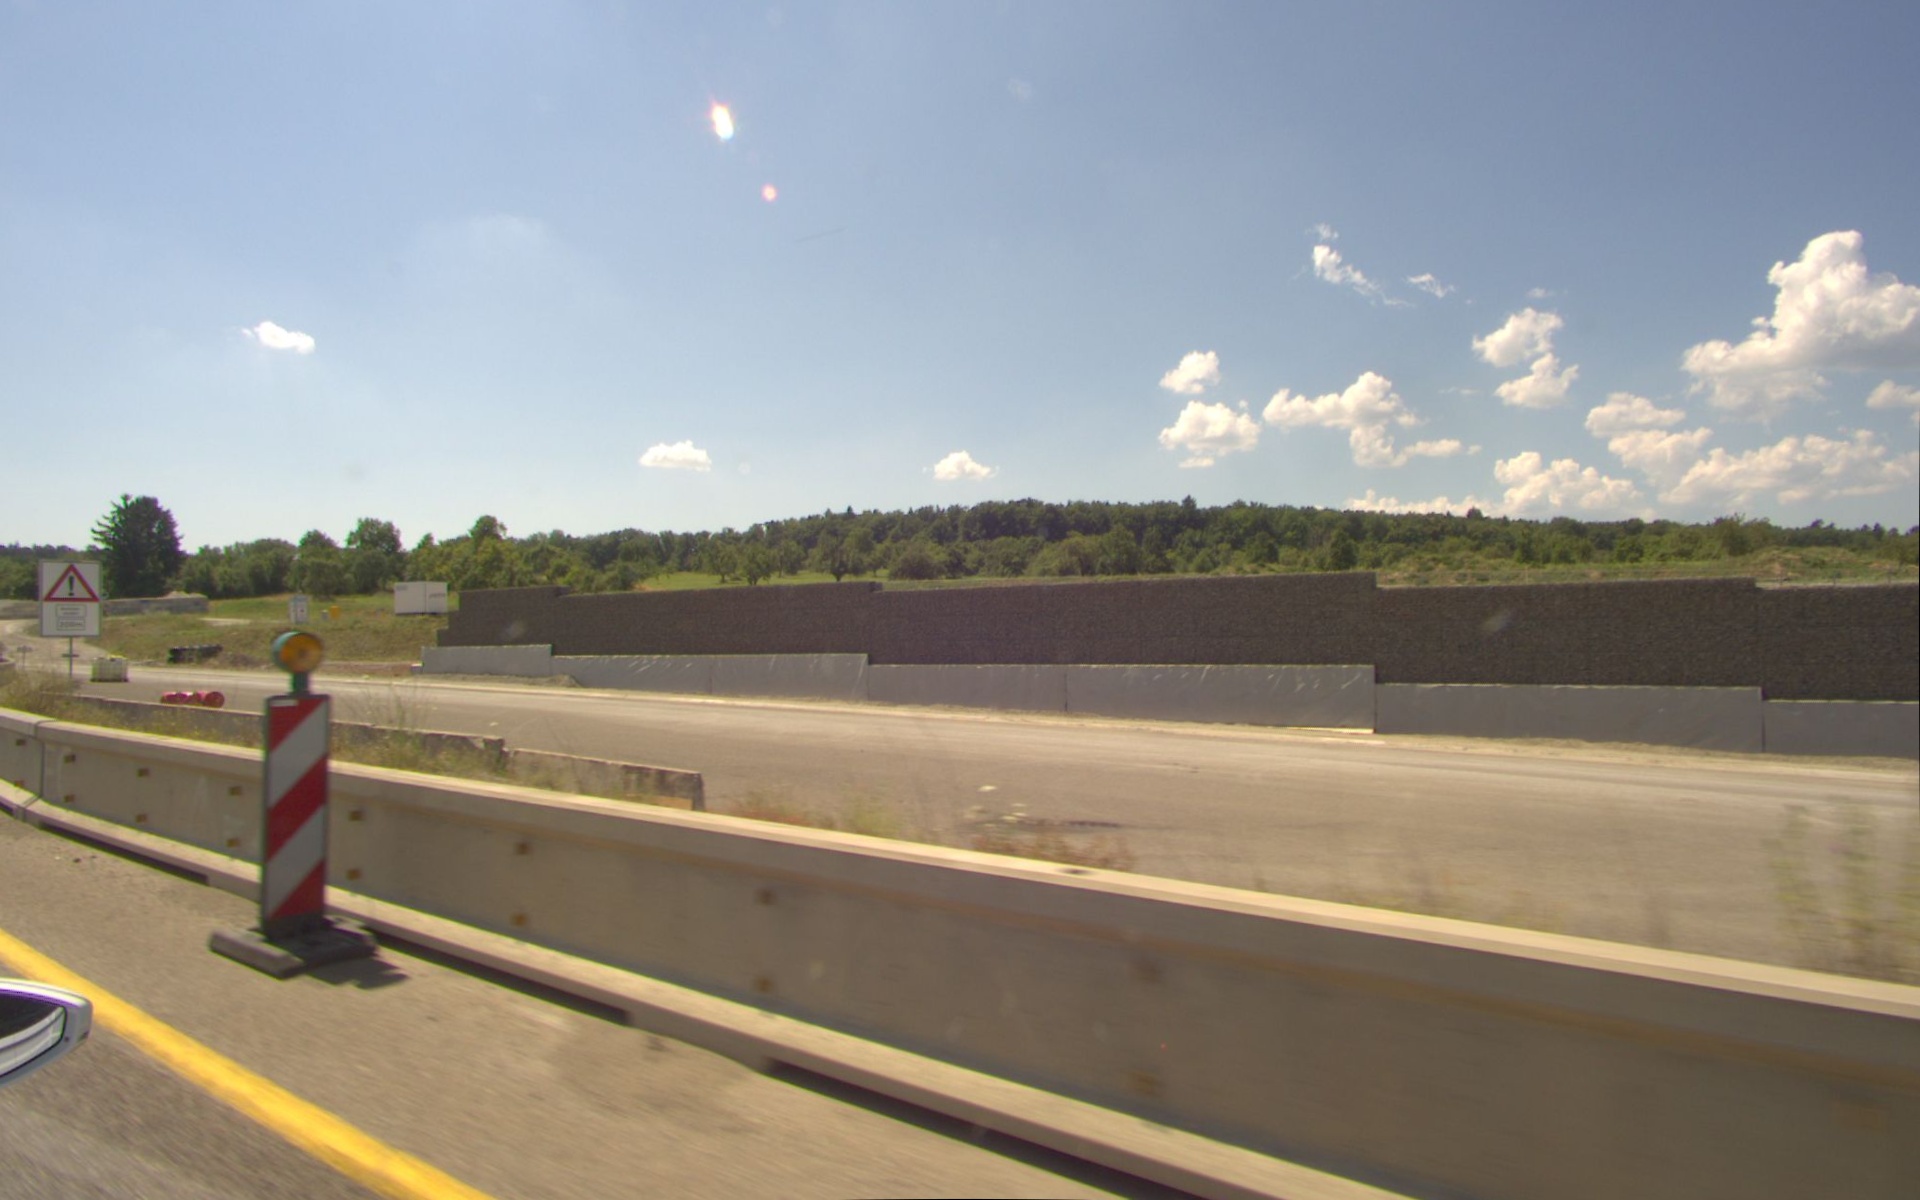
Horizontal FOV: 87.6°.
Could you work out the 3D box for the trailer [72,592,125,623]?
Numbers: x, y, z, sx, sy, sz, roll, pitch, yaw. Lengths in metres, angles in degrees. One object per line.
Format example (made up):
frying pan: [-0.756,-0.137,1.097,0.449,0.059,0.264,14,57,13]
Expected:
trailer: [-119.615,1.123,138.980,6.629,4.167,2.759,-1,-1,21]

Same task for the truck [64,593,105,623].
truck: [-122.534,1.171,140.100,4.029,4.148,2.748,0,-1,21]
